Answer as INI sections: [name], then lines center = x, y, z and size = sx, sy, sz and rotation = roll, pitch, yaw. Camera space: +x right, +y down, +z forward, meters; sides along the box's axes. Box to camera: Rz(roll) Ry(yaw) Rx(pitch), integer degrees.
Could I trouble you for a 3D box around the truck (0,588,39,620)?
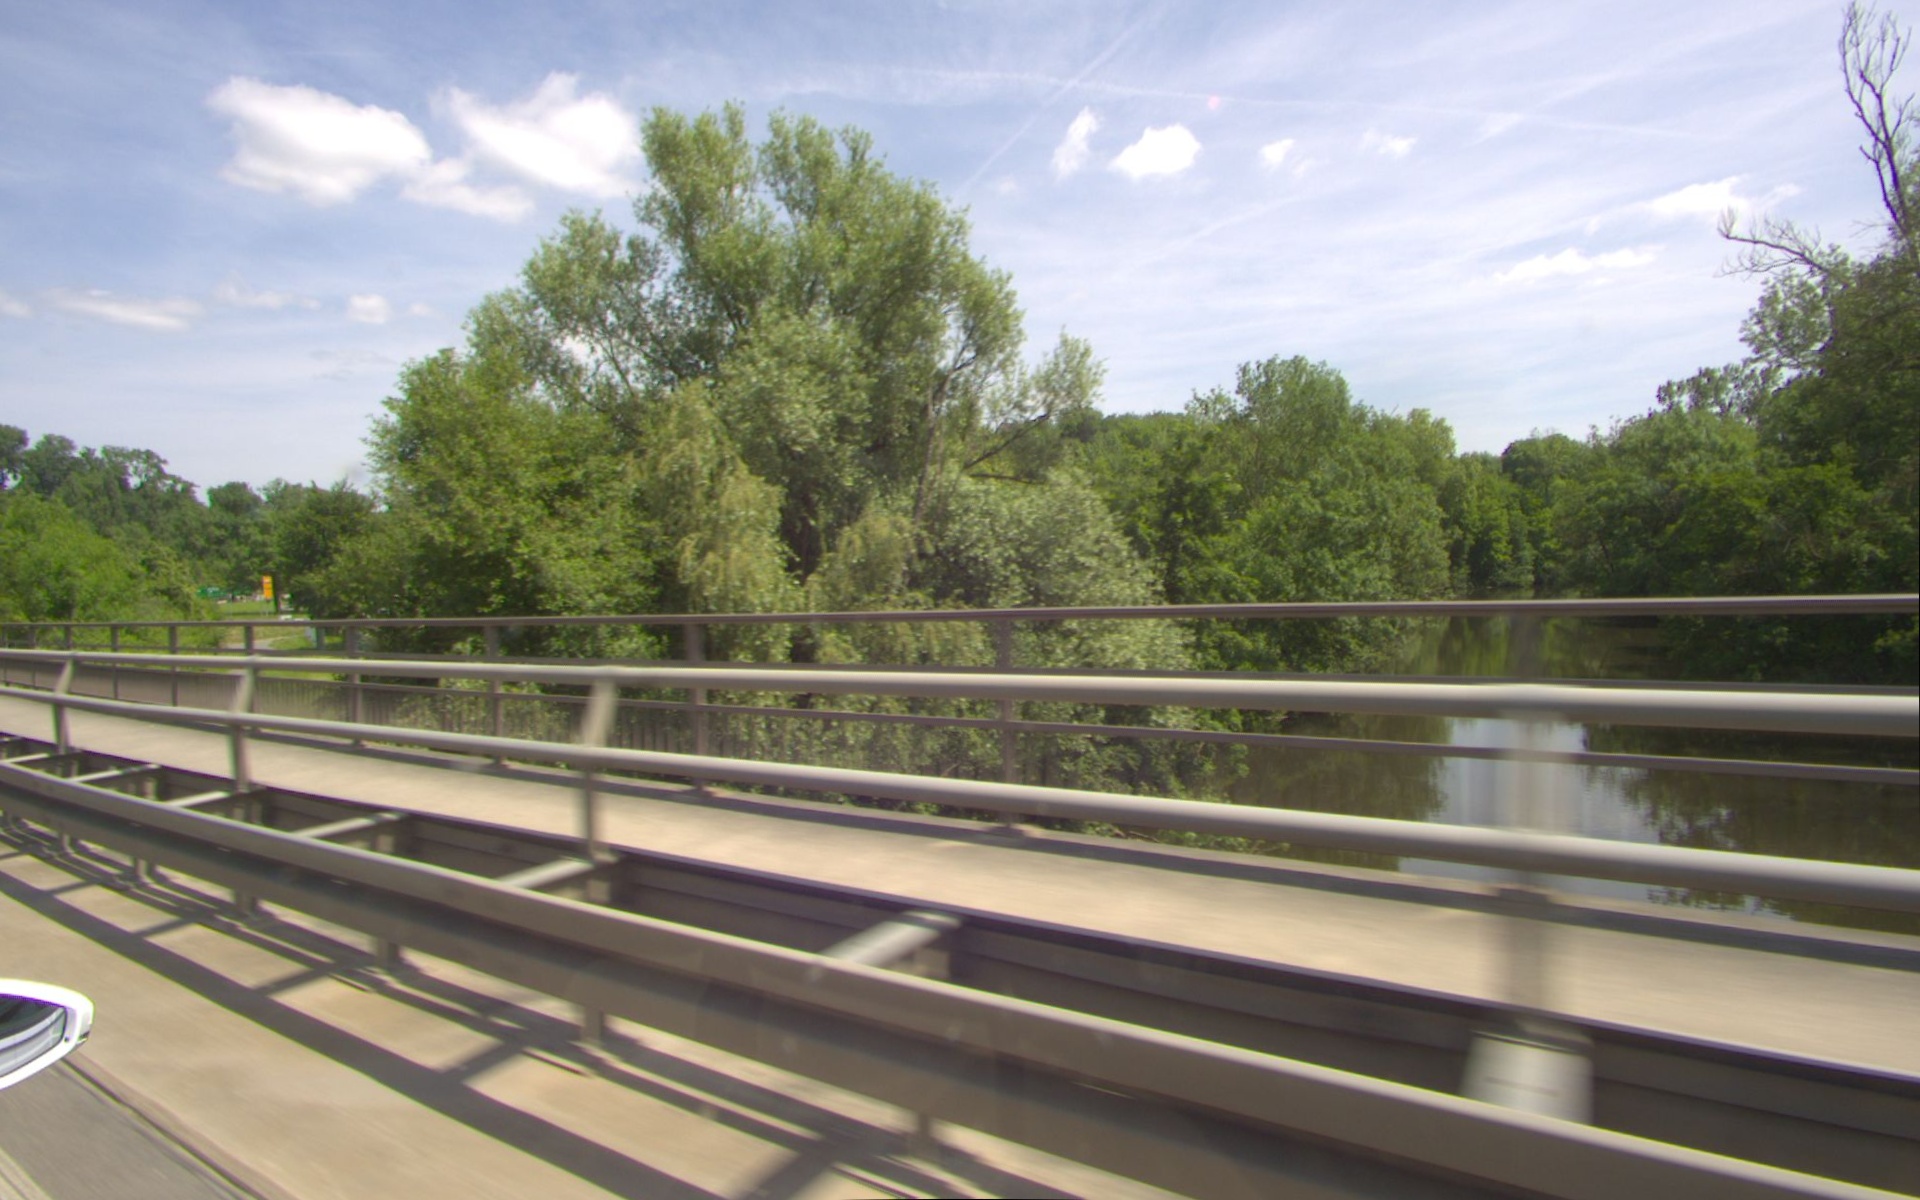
[truck]
center = -90.828, 0.333, 95.088
size = 2.819, 2.987, 7.077
rotation = 0, 0, -24
